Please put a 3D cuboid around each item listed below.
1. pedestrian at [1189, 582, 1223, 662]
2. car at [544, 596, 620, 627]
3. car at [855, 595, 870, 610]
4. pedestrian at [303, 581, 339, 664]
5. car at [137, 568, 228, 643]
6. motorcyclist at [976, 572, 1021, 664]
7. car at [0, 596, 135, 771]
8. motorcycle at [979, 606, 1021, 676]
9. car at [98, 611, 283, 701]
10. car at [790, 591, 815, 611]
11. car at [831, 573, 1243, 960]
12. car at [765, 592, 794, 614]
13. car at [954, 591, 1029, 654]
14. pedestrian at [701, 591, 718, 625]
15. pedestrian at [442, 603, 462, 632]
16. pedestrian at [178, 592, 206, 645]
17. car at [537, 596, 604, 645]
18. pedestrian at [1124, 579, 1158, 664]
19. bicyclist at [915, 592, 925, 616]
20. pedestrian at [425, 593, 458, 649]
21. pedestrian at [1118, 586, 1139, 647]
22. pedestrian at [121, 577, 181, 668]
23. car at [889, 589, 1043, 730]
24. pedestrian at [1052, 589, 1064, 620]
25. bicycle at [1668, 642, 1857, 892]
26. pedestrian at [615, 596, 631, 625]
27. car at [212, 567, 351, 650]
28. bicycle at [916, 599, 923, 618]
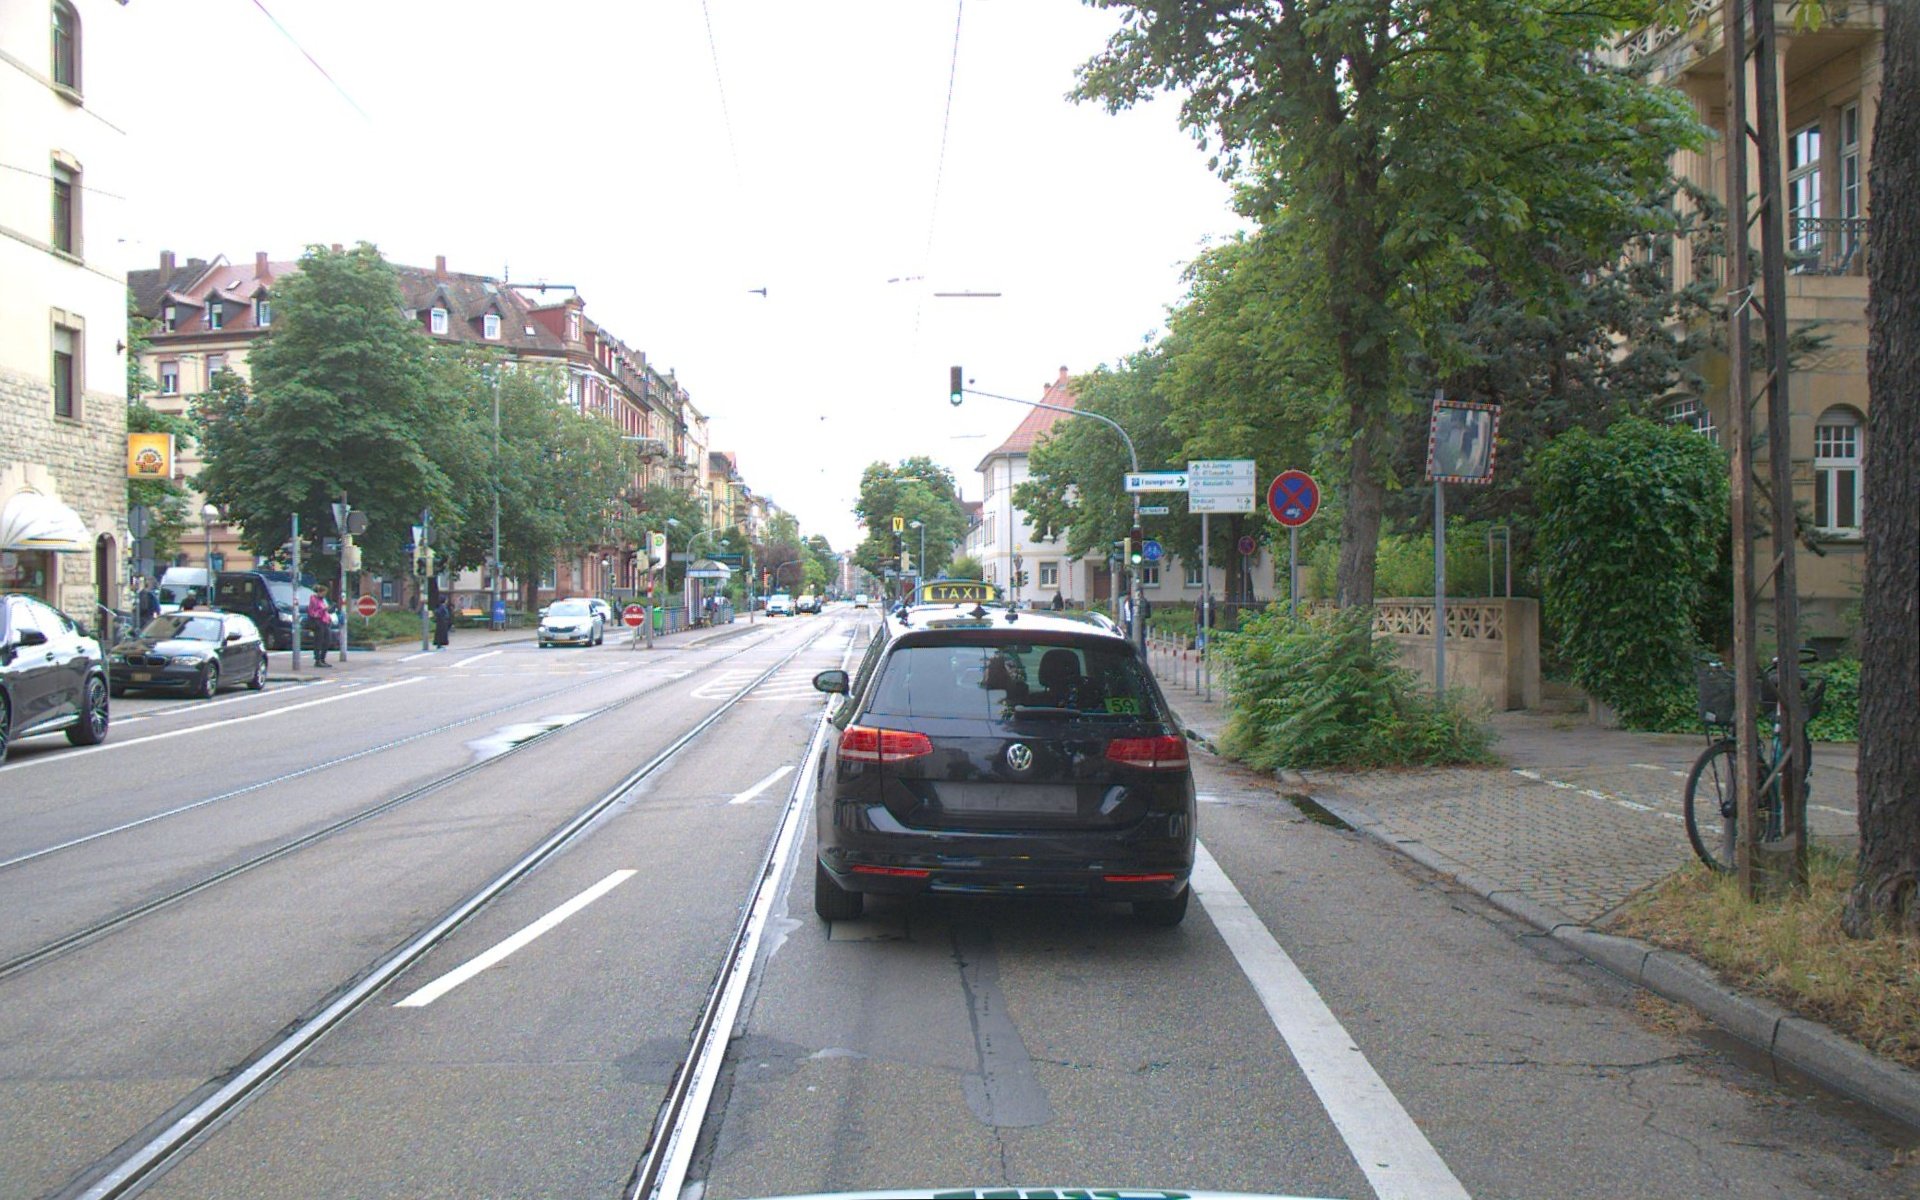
[{"bbox_3d":[5.735,0.506,38.552,0.619,1.846,0.725,0,0,-5],"label":"pedestrian"},{"bbox_3d":[-20.856,0.611,91.294,1.697,1.651,3.836,-1,0,44],"label":"car"},{"bbox_3d":[-13.241,0.311,225.017,1.992,2.049,3.997,1,-1,-3],"label":"car"},{"bbox_3d":[-14.666,0.507,37.967,0.611,1.875,0.609,0,0,-5],"label":"pedestrian"},{"bbox_3d":[-28.062,0.170,59.583,2.160,2.571,5.315,0,0,-35],"label":"car"},{"bbox_3d":[0.728,0.331,31.276,0.688,1.722,0.805,-1,0,13],"label":"motorcyclist"},{"bbox_3d":[-10.284,0.836,17.103,1.850,1.639,4.873,-3,0,-11],"label":"car"},{"bbox_3d":[0.764,0.754,31.224,0.437,1.257,1.908,-1,0,12],"label":"motorcycle"},{"bbox_3d":[-13.518,0.935,29.318,1.617,1.385,4.125,2,0,-5],"label":"car"},{"bbox_3d":[-13.682,0.077,144.064,1.758,1.624,4.000,-1,0,0],"label":"car"},{"bbox_3d":[0.224,0.667,8.759,1.689,1.573,3.998,0,0,-3],"label":"car"},{"bbox_3d":[-13.874,0.188,127.132,1.758,1.624,4.000,-1,0,0],"label":"car"},{"bbox_3d":[0.790,0.554,43.272,1.689,1.573,3.998,0,0,-3],"label":"car"},{"bbox_3d":[-11.373,0.349,75.034,0.700,1.547,0.589,0,0,-2],"label":"pedestrian"},{"bbox_3d":[-20.630,0.702,67.149,0.582,1.189,0.836,0,0,-32],"label":"pedestrian"},{"bbox_3d":[-25.492,0.616,54.885,0.694,1.745,0.543,0,0,-43],"label":"pedestrian"},{"bbox_3d":[-12.469,0.625,53.107,1.657,1.435,3.993,-2,0,-8],"label":"car"},{"bbox_3d":[4.053,0.473,36.994,0.573,1.862,0.604,-3,0,-2],"label":"pedestrian"},{"bbox_3d":[-2.660,0.274,110.310,0.637,1.596,0.696,-1,0,4],"label":"bicyclist"},{"bbox_3d":[-16.003,0.640,51.028,0.819,1.692,0.591,0,0,-2],"label":"pedestrian"},{"bbox_3d":[5.330,0.520,52.261,0.504,1.862,0.418,-3,0,-2],"label":"pedestrian"},{"bbox_3d":[-18.520,0.511,37.864,0.954,2.049,0.835,-1,0,-3],"label":"pedestrian"},{"bbox_3d":[-0.015,0.653,20.401,1.689,1.573,3.998,0,0,-3],"label":"car"},{"bbox_3d":[4.931,0.216,83.484,0.569,1.581,0.609,0,0,-1],"label":"pedestrian"},{"bbox_3d":[4.401,0.844,9.008,0.425,1.219,1.892,-1,-1,42],"label":"bicycle"},{"bbox_3d":[-18.108,0.585,88.906,0.577,1.547,0.647,-1,0,32],"label":"pedestrian"},{"bbox_3d":[-21.286,0.250,51.761,2.170,2.460,5.291,0,0,-45],"label":"car"},{"bbox_3d":[-2.698,0.583,110.251,0.291,1.244,1.431,-1,0,4],"label":"bicycle"}]
